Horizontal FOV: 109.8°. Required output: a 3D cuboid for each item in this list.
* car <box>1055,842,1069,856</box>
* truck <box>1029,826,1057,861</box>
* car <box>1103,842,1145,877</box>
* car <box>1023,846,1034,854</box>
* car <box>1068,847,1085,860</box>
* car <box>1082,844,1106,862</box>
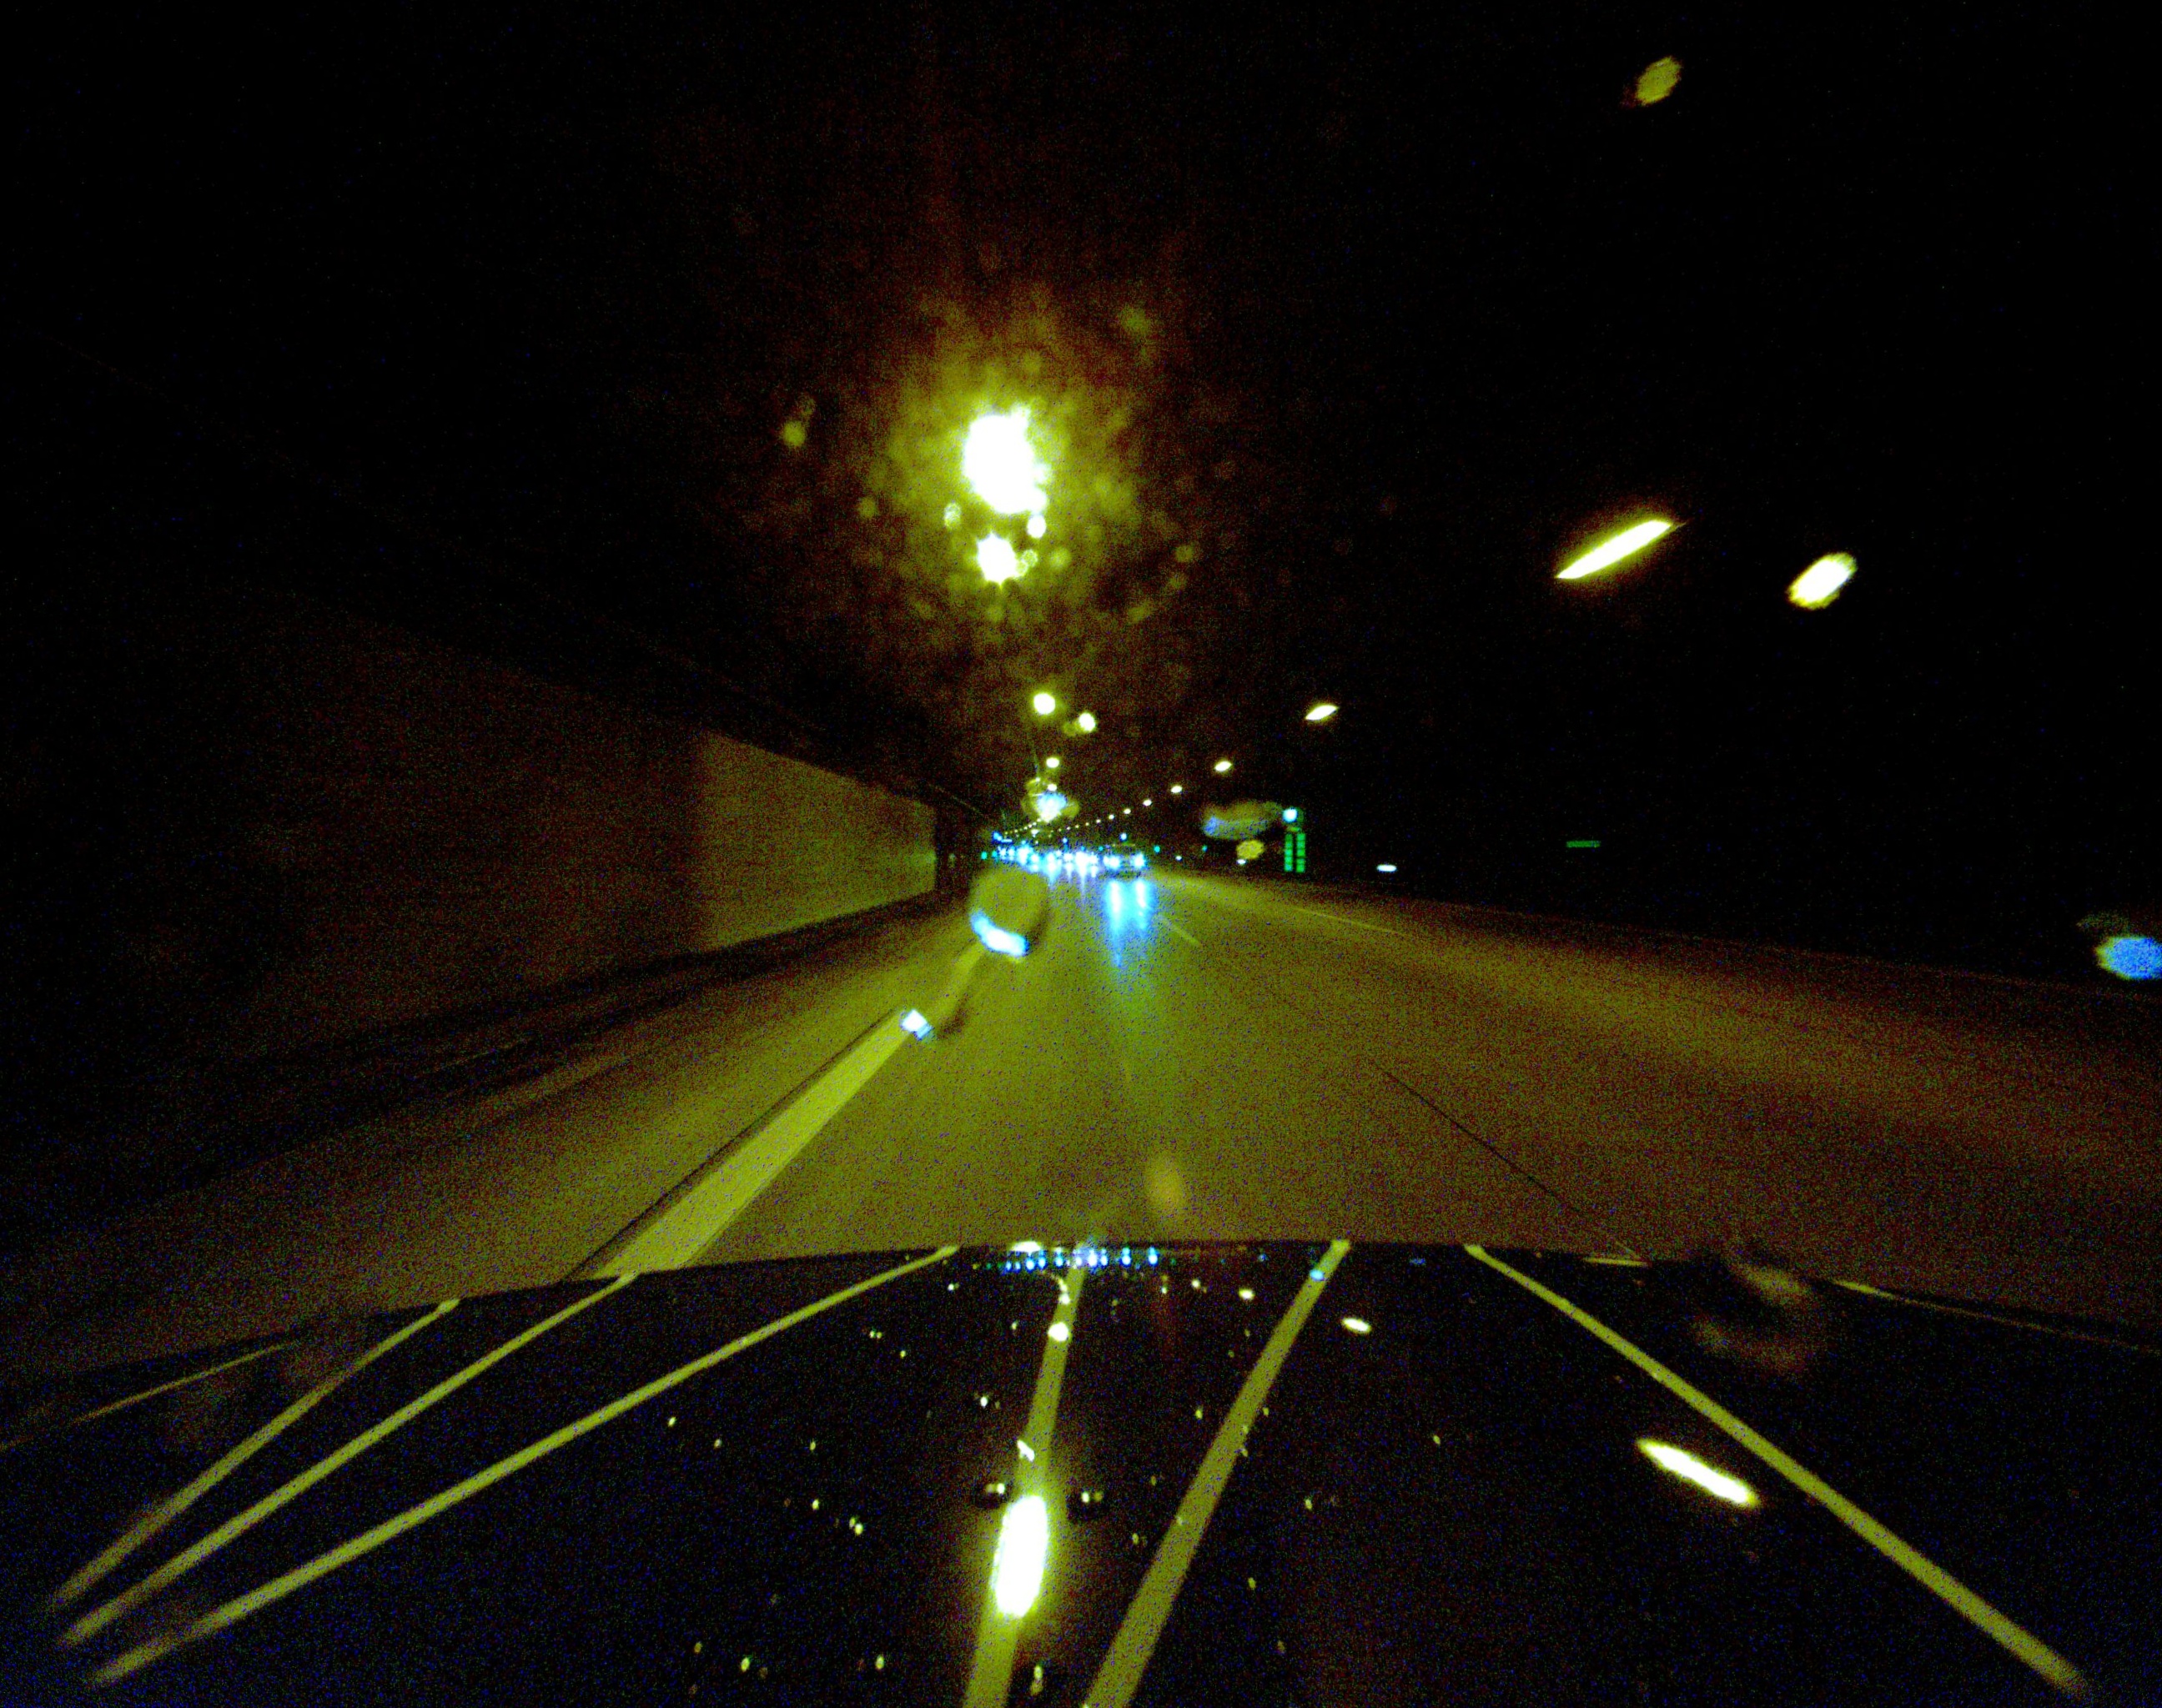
[{"bbox_3d":[-3.052,-0.867,121.202,1.999,2.003,3.996,-2,2,-5],"label":"car"},{"bbox_3d":[-4.812,-1.408,95.569,3.143,4.136,7.383,-2,2,-4],"label":"truck"},{"bbox_3d":[2.617,0.345,47.380,1.999,2.001,4.359,-2,-1,-5],"label":"car"},{"bbox_3d":[-11.586,-0.820,168.474,2.000,1.729,3.996,-2,1,-8],"label":"car"},{"bbox_3d":[-0.556,-0.068,93.632,1.759,1.567,3.998,-2,0,-5],"label":"car"},{"bbox_3d":[1.234,-0.094,74.682,1.911,1.638,3.998,-2,0,-4],"label":"car"}]
